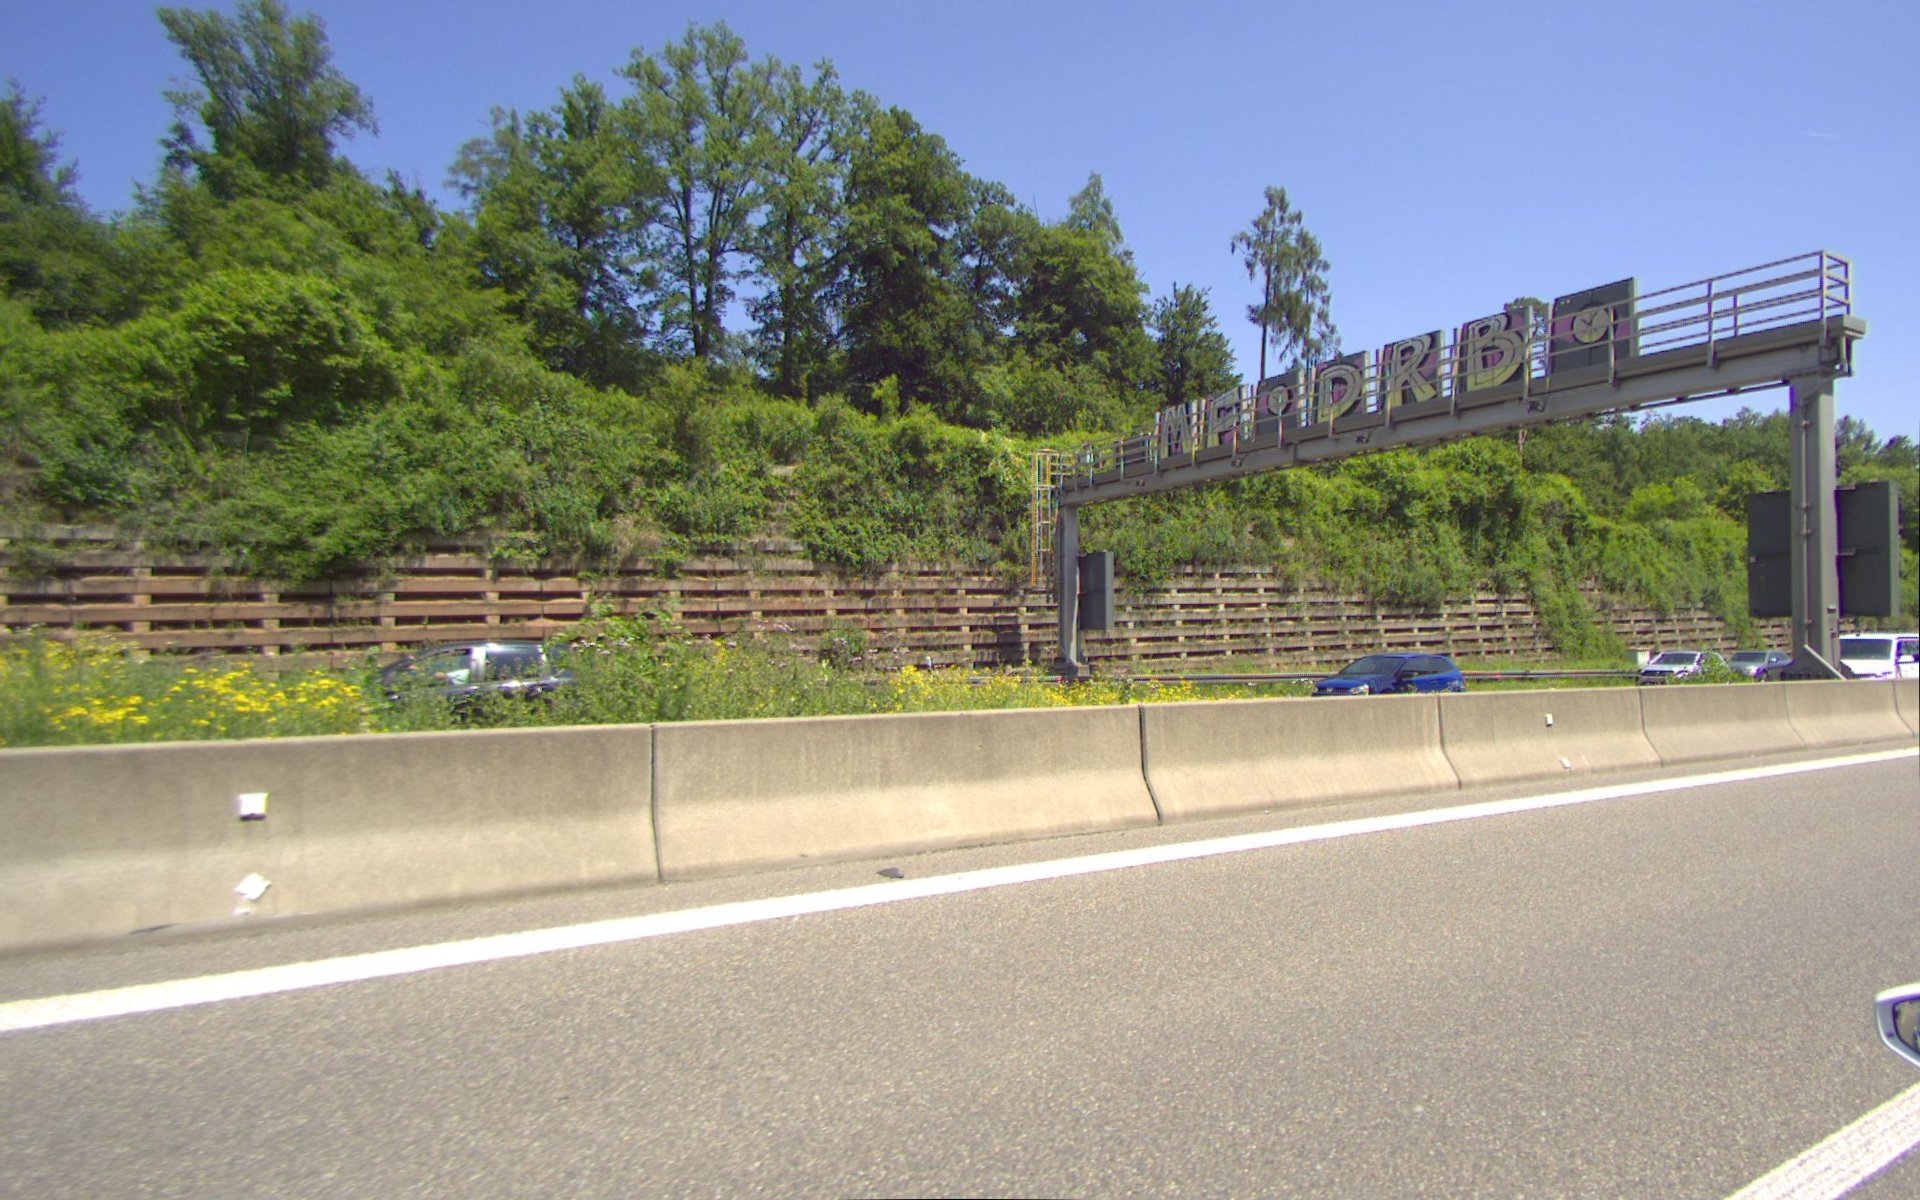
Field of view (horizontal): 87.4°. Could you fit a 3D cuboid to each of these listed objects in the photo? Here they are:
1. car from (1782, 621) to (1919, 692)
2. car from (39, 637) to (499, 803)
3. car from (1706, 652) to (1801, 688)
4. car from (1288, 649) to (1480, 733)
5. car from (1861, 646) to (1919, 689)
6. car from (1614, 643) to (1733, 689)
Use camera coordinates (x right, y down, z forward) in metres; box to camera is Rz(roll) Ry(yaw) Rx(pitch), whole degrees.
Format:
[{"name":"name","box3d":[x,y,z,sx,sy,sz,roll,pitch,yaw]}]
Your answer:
[{"name":"car","box3d":[24.219,1.438,26.575,5.928,1.709,1.987,1,-2,-32]},{"name":"car","box3d":[-7.762,1.255,11.776,4.150,1.626,1.700,1,-2,-31]},{"name":"car","box3d":[36.396,3.180,46.044,4.423,1.515,1.890,1,-2,-30]},{"name":"car","box3d":[9.230,1.892,21.793,4.150,1.626,1.700,1,-2,-31]},{"name":"car","box3d":[36.716,2.528,38.302,5.820,1.515,1.951,1,-2,-32]},{"name":"car","box3d":[25.934,2.364,36.495,4.320,1.546,1.890,1,-2,-30]}]
